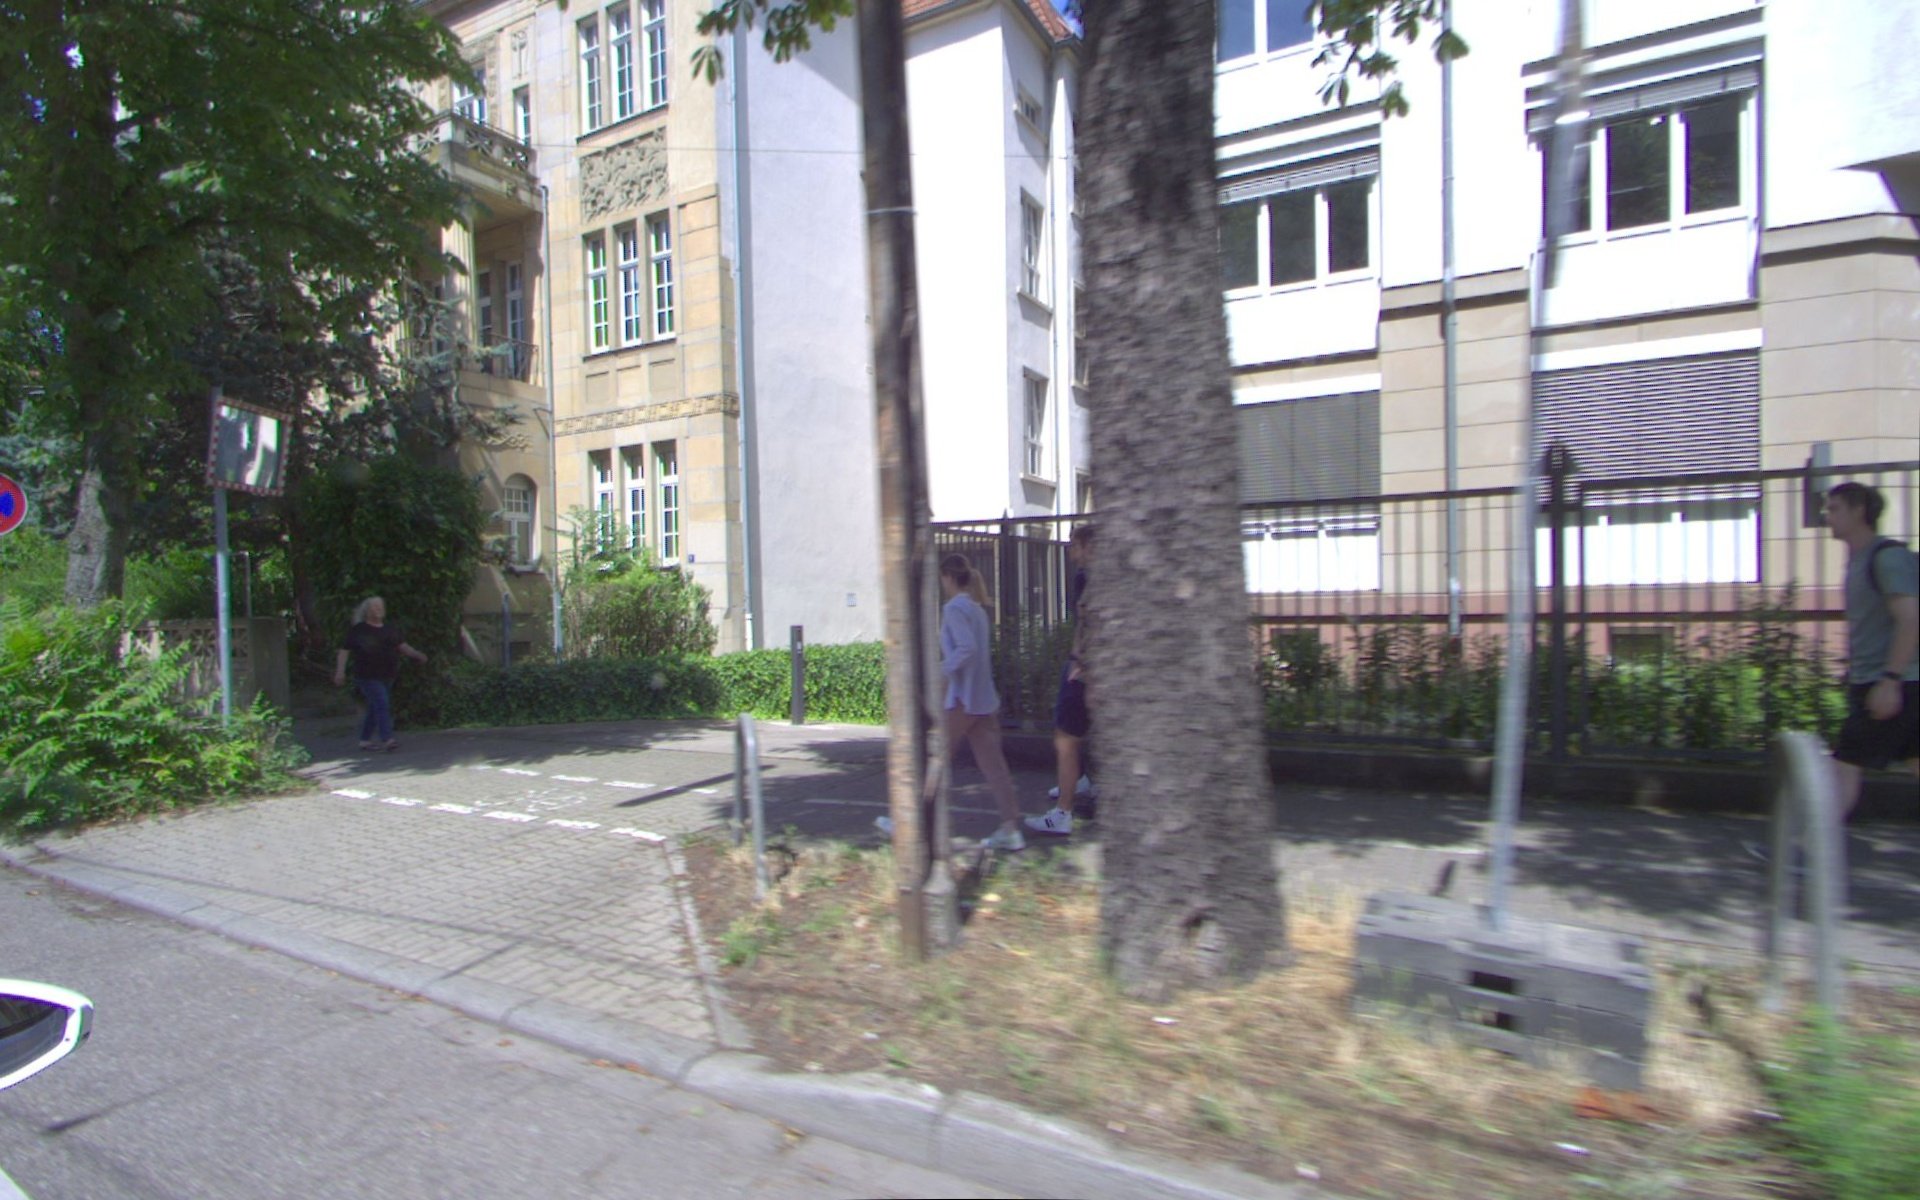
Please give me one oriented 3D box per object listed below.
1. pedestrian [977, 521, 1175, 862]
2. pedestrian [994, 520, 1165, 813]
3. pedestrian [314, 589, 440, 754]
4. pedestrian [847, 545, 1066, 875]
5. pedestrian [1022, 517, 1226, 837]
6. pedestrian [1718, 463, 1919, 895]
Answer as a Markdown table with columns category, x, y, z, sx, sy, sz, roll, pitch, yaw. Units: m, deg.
| category | x | y | z | sx | sy | sz | roll | pitch | yaw |
| --- | --- | --- | --- | --- | --- | --- | --- | --- | --- |
| pedestrian | 0.681 | 0.488 | 5.800 | 0.932 | 1.800 | 0.704 | -1 | 1 | 28 |
| pedestrian | 0.818 | 0.422 | 6.789 | 0.962 | 1.836 | 0.660 | -1 | 1 | 29 |
| pedestrian | -6.231 | 0.732 | 10.720 | 0.825 | 1.667 | 0.854 | -1 | 1 | 34 |
| pedestrian | -0.009 | 0.562 | 5.635 | 0.959 | 1.673 | 0.765 | -1 | 1 | 30 |
| pedestrian | 1.023 | 0.439 | 6.165 | 1.035 | 1.785 | 0.787 | -1 | 1 | 26 |
| pedestrian | 4.171 | 0.336 | 4.537 | 1.067 | 1.821 | 0.683 | -1 | 1 | 29 |
